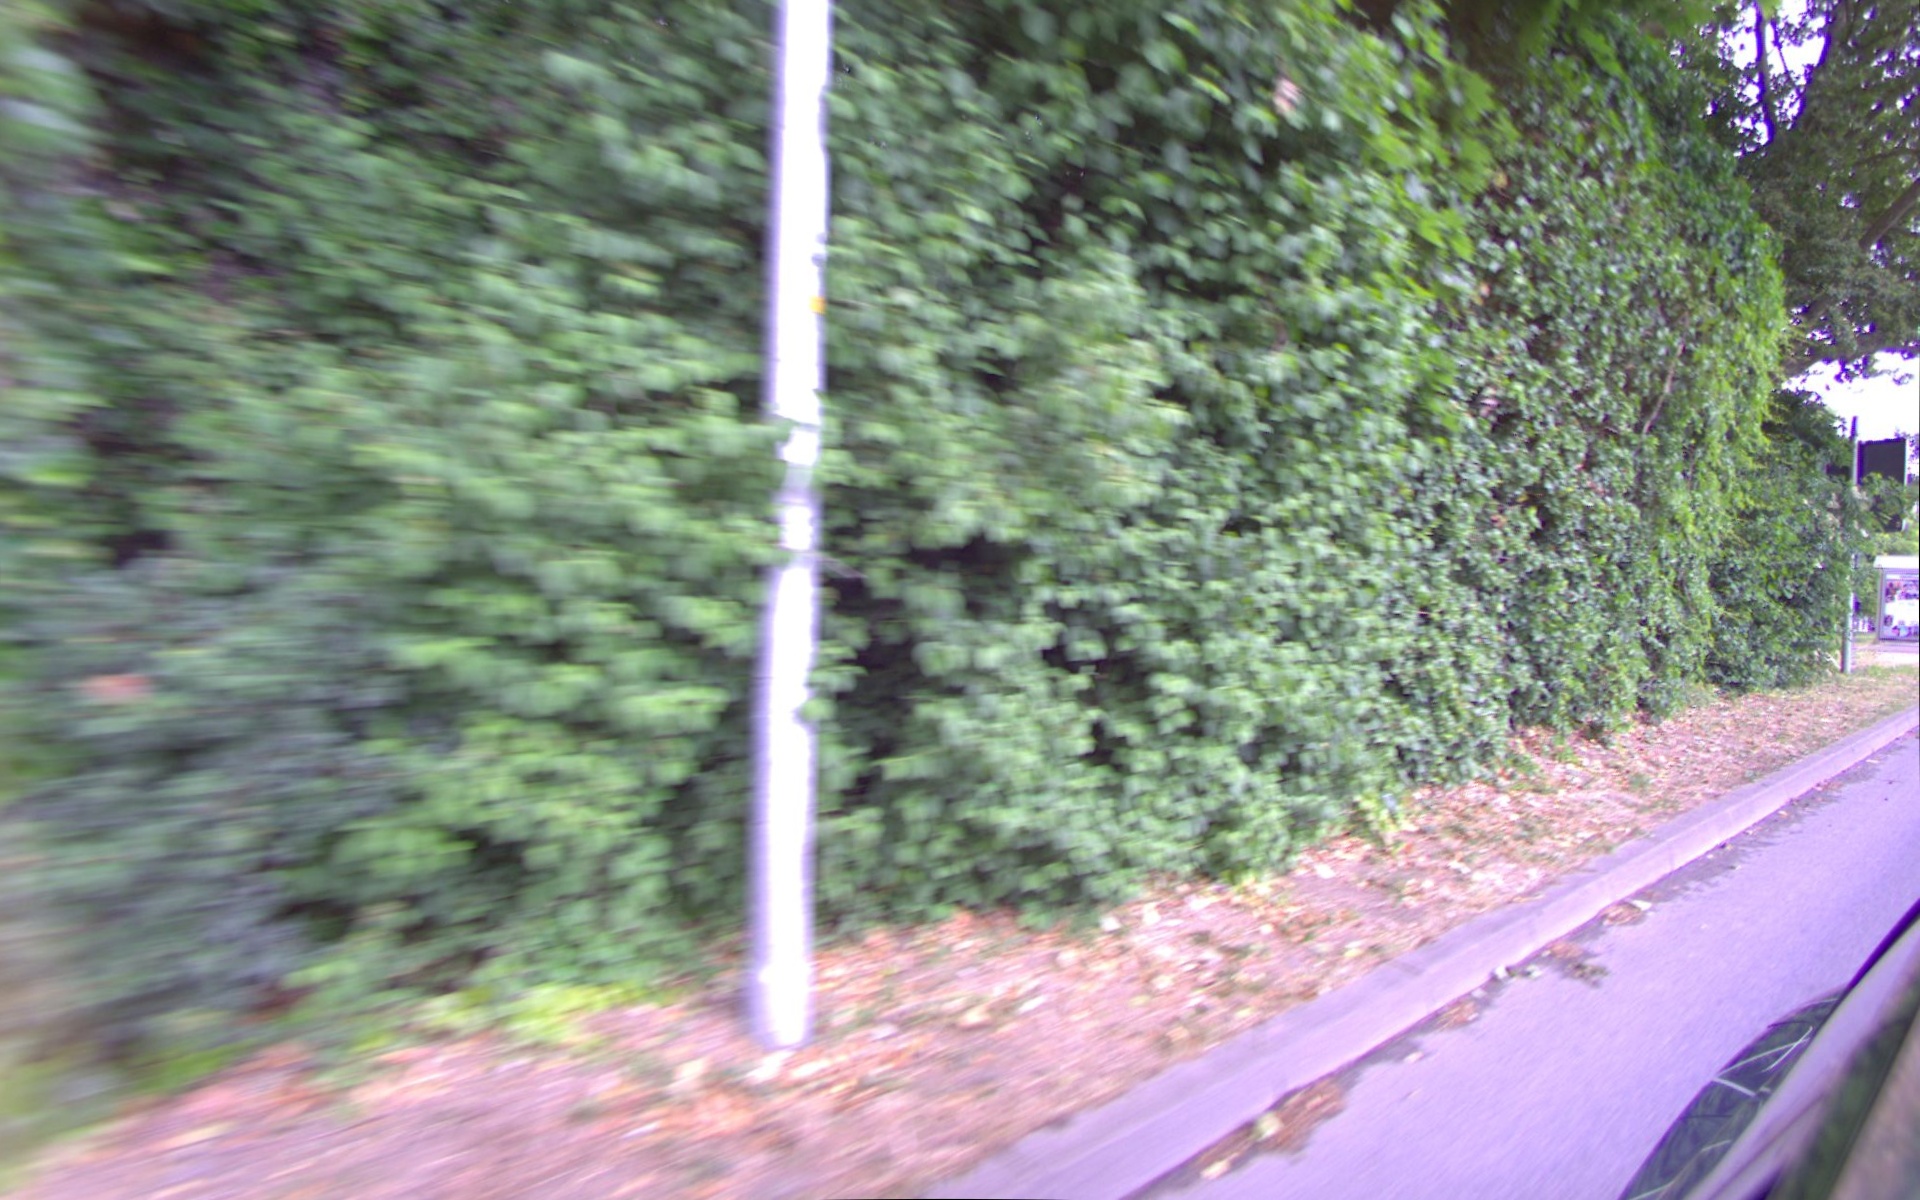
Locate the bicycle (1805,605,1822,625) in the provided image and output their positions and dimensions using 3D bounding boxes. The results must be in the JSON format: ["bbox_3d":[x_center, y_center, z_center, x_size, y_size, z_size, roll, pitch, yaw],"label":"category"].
[{"bbox_3d":[36.929,0.640,43.781,0.476,0.818,1.490,1,0,44],"label":"bicycle"}]
